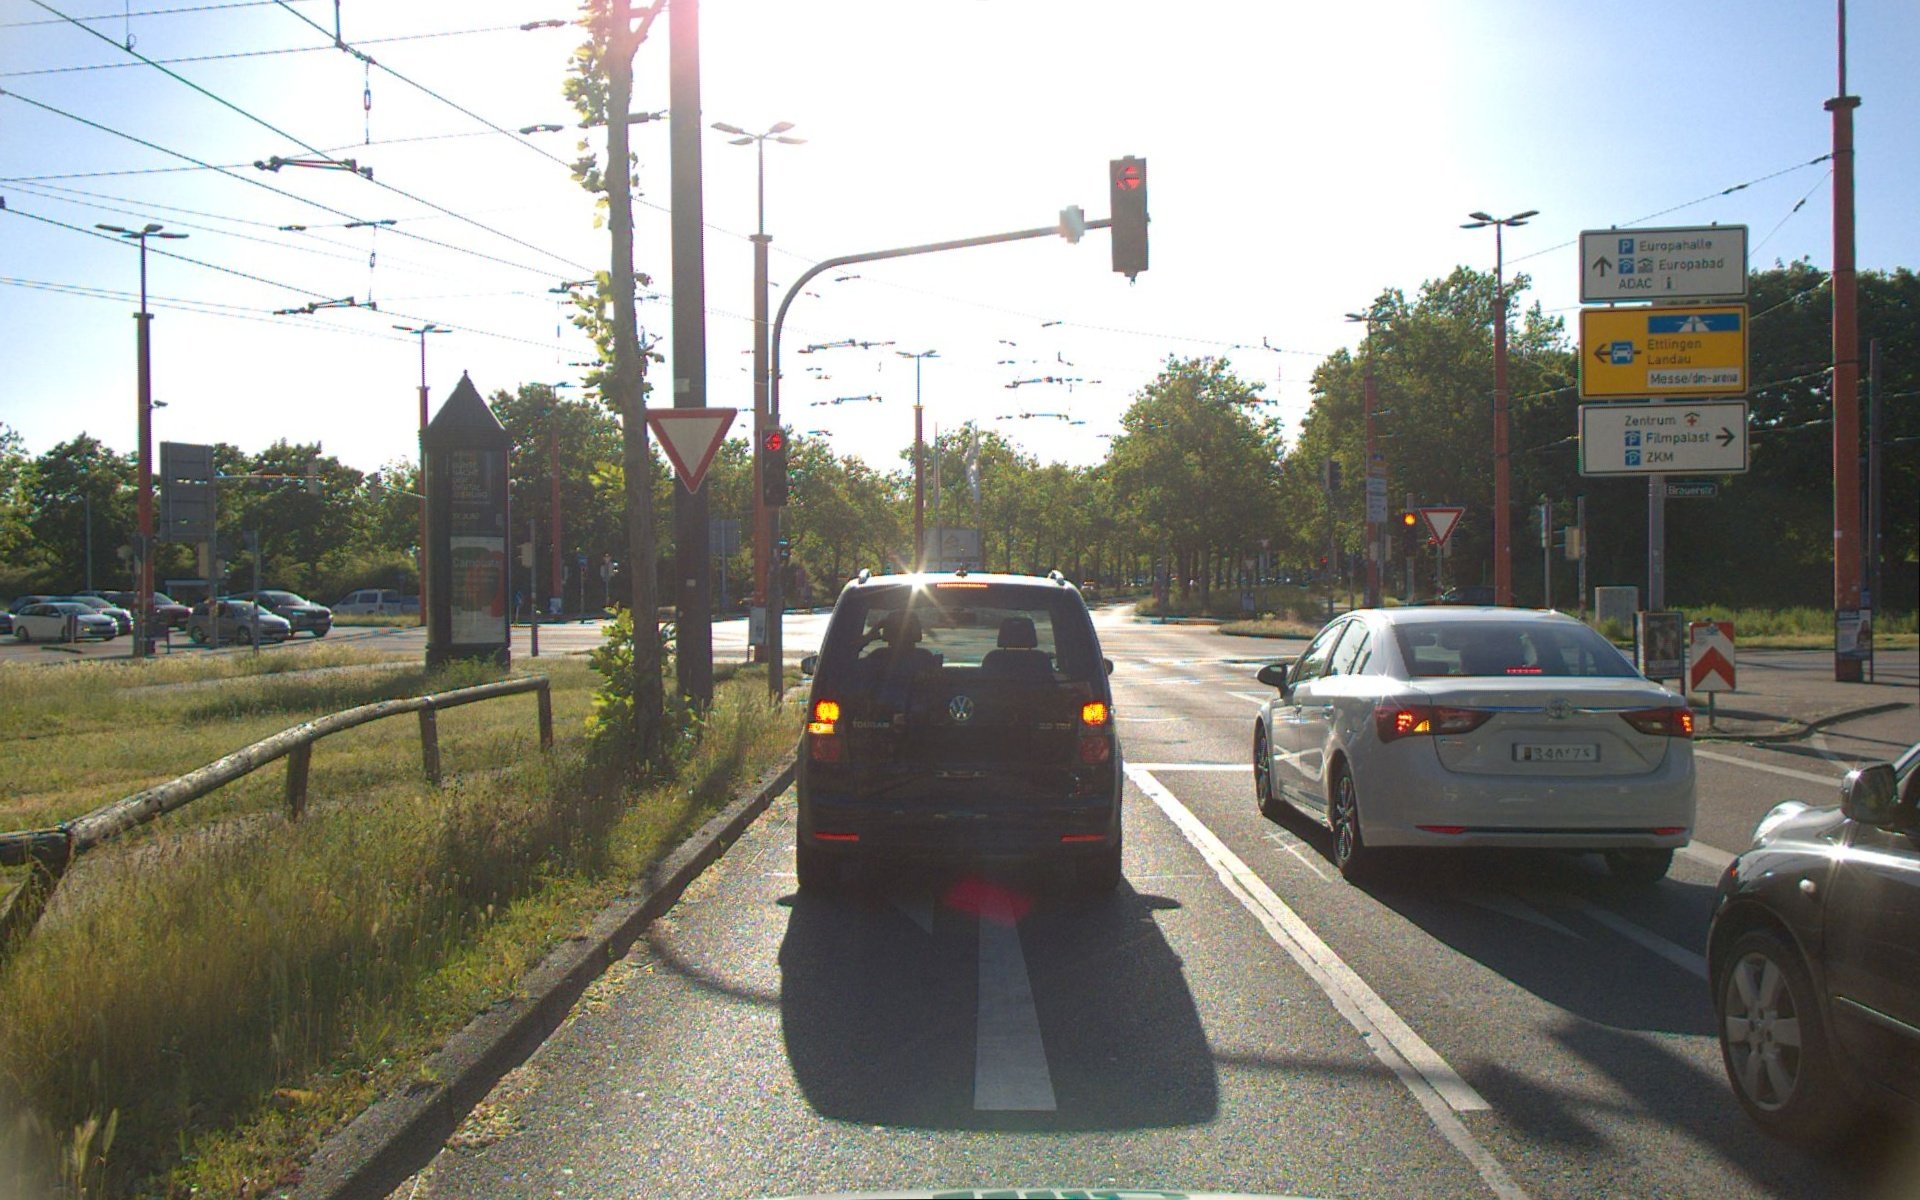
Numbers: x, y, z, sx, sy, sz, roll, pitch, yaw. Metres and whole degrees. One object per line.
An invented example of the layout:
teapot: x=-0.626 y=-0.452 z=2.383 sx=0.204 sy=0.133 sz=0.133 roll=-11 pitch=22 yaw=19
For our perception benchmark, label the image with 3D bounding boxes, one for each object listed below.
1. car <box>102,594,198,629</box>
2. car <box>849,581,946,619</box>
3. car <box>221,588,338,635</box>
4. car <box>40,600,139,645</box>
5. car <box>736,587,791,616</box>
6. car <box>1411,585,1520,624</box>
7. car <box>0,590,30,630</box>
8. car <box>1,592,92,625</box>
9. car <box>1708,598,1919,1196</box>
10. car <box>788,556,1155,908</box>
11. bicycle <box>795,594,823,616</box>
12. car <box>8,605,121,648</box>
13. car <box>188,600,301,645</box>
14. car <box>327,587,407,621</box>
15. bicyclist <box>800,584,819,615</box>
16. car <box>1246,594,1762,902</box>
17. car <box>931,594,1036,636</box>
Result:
car: x=-34.592 y=0.459 z=70.611 sx=4.060 sy=1.440 sz=1.542 roll=0 pitch=0 yaw=26
car: x=-2.870 y=-0.014 z=75.635 sx=4.120 sy=1.710 sz=1.655 roll=0 pitch=0 yaw=26
car: x=-25.687 y=0.410 z=62.406 sx=4.541 sy=1.676 sz=1.654 roll=0 pitch=0 yaw=30
car: x=-35.459 y=0.898 z=67.340 sx=4.248 sy=1.721 sz=1.653 roll=0 pitch=0 yaw=32
car: x=-12.206 y=0.068 z=103.018 sx=1.618 sy=1.780 sz=4.131 roll=0 pitch=0 yaw=22
car: x=19.576 y=0.164 z=64.068 sx=3.837 sy=1.483 sz=1.655 roll=0 pitch=0 yaw=26
car: x=-42.210 y=0.388 z=71.184 sx=4.541 sy=1.676 sz=1.753 roll=0 pitch=0 yaw=30
car: x=-40.873 y=0.365 z=73.992 sx=4.060 sy=1.440 sz=1.542 roll=0 pitch=0 yaw=26
car: x=3.136 y=0.739 z=3.487 sx=1.544 sy=1.465 sz=3.441 roll=1 pitch=0 yaw=0
car: x=0.067 y=0.633 z=9.962 sx=1.703 sy=1.630 sz=4.326 roll=1 pitch=0 yaw=0
bicycle: x=-9.780 y=0.323 z=107.093 sx=0.955 sy=1.413 sz=2.982 roll=0 pitch=0 yaw=12
car: x=-33.970 y=0.976 z=62.701 sx=4.536 sy=1.546 sz=1.654 roll=0 pitch=0 yaw=30
car: x=-25.065 y=0.767 z=57.912 sx=3.755 sy=1.466 sz=1.655 roll=0 pitch=0 yaw=27
car: x=-32.302 y=0.216 z=90.107 sx=4.035 sy=1.780 sz=1.656 roll=0 pitch=0 yaw=22
bicyclist: x=-9.773 y=-0.036 z=107.134 sx=0.955 sy=1.937 sz=1.051 roll=0 pitch=0 yaw=12
car: x=3.015 y=0.726 z=10.184 sx=1.762 sy=1.465 sz=4.326 roll=1 pitch=0 yaw=0
car: x=0.981 y=0.613 z=69.311 sx=4.118 sy=1.710 sz=1.656 roll=0 pitch=0 yaw=24
